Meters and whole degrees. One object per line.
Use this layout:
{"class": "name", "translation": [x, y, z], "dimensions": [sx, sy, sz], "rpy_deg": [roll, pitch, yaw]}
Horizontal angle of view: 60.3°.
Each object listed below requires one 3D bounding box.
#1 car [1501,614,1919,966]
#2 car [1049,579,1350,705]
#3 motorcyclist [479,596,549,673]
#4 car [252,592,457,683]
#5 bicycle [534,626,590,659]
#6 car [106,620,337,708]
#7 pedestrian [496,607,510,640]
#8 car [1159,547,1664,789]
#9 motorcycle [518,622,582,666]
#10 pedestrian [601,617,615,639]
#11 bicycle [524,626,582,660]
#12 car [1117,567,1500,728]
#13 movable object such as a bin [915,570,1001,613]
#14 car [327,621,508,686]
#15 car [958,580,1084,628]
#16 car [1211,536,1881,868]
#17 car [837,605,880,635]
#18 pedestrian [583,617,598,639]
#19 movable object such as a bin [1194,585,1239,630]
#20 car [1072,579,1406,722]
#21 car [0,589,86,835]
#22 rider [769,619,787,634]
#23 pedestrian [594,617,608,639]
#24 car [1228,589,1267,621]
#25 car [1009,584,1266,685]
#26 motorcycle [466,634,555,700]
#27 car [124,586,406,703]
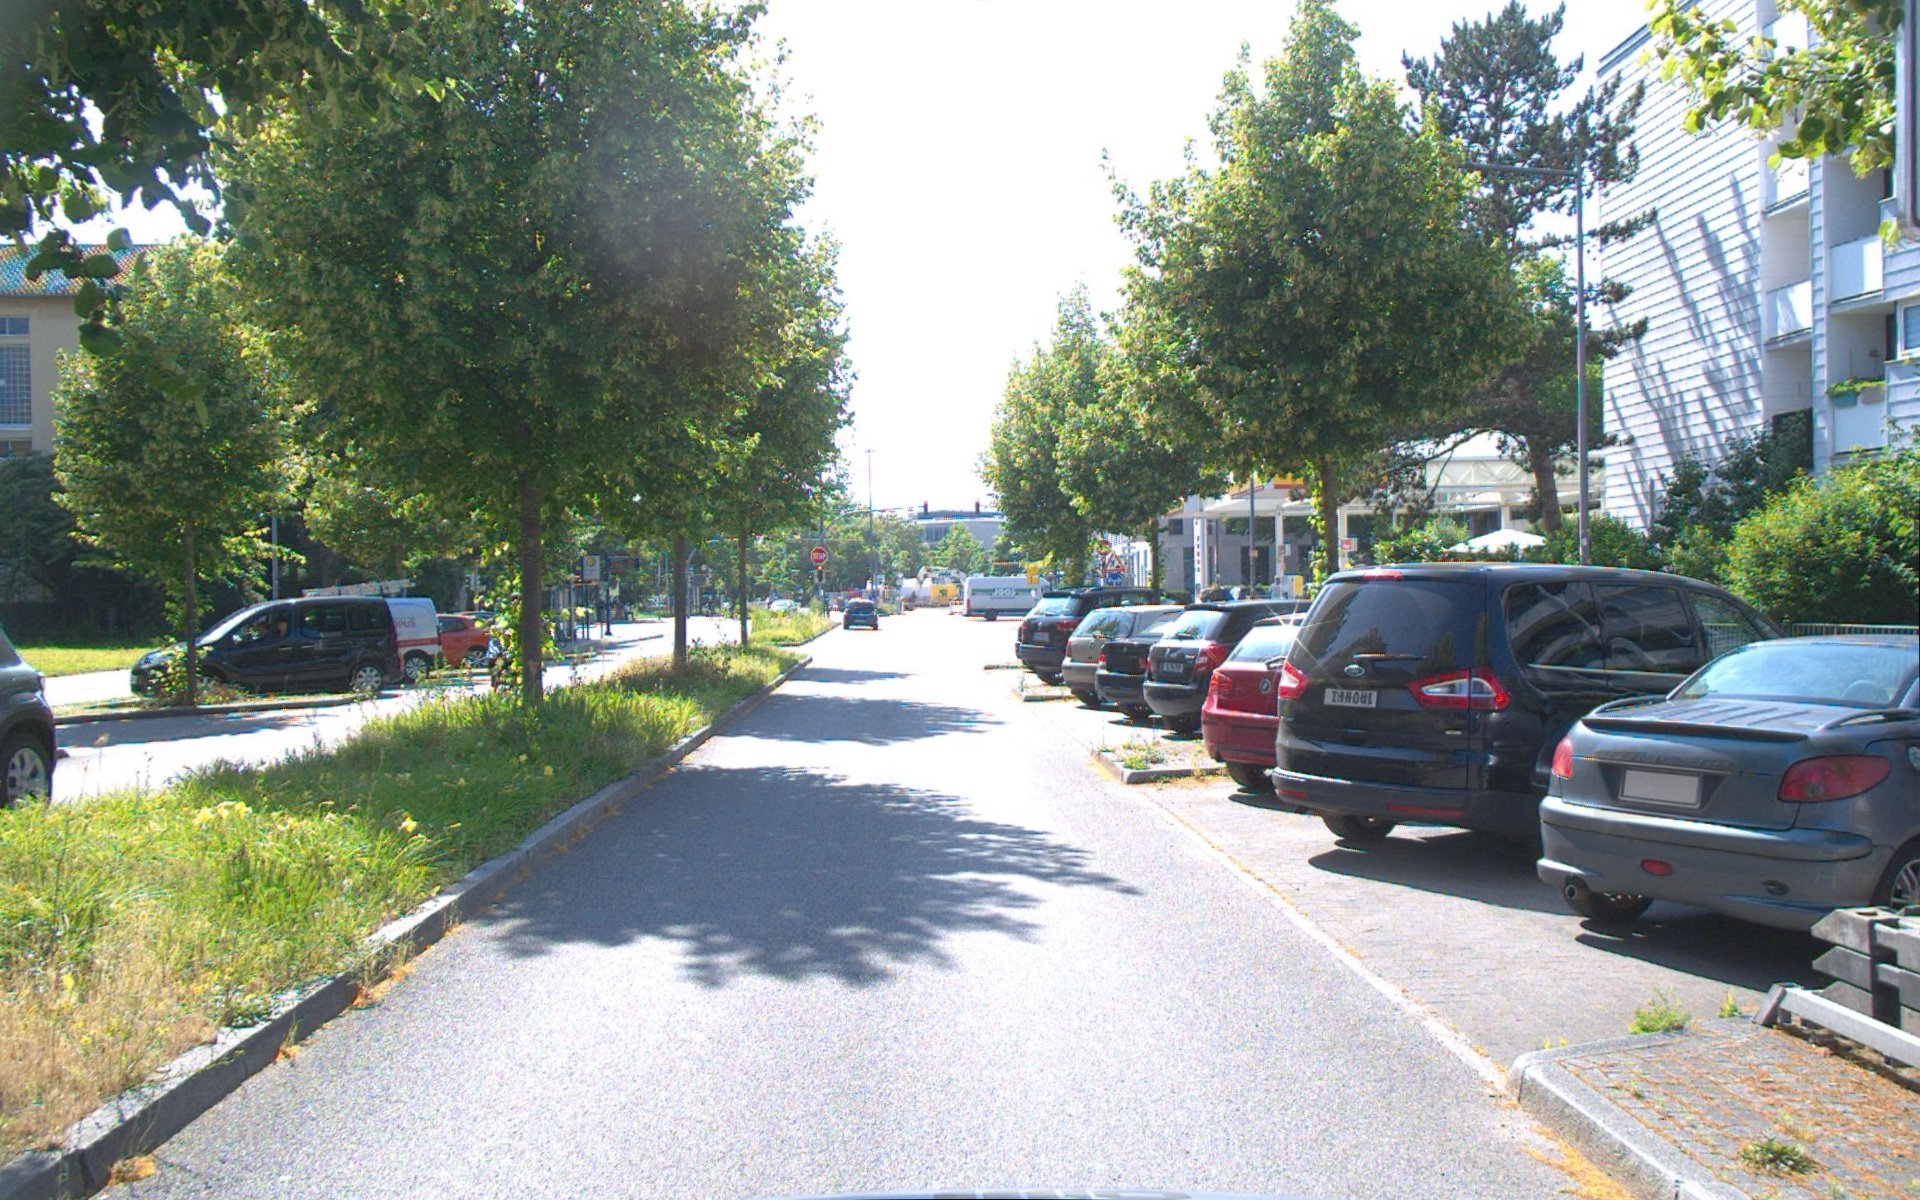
{"class": "car", "translation": [4.608, 0.700, 7.725], "dimensions": [3.942, 1.258, 1.736], "rpy_deg": [0, -1, -28]}
{"class": "car", "translation": [3.405, 0.577, 23.748], "dimensions": [3.920, 1.669, 1.746], "rpy_deg": [-1, -1, -15]}
{"class": "motorcyclist", "translation": [-7.438, 0.575, 27.608], "dimensions": [0.882, 1.242, 1.061], "rpy_deg": [-1, -1, -1]}
{"class": "car", "translation": [-12.638, 0.754, 34.568], "dimensions": [3.728, 1.803, 1.798], "rpy_deg": [0, -1, -34]}
{"class": "bicycle", "translation": [-14.053, 1.491, 58.388], "dimensions": [1.808, 1.142, 0.693], "rpy_deg": [-1, -1, -1]}
{"class": "car", "translation": [-13.855, 1.155, 31.062], "dimensions": [3.729, 1.452, 1.834], "rpy_deg": [-1, 0, -34]}
{"class": "pedestrian", "translation": [-24.937, 1.297, 90.296], "dimensions": [0.649, 1.757, 0.749], "rpy_deg": [-1, -1, -20]}
{"class": "car", "translation": [3.700, 0.497, 13.337], "dimensions": [3.955, 1.669, 1.856], "rpy_deg": [0, -2, -36]}
{"class": "motorcycle", "translation": [-12.560, 1.337, 50.699], "dimensions": [1.811, 1.307, 0.691], "rpy_deg": [0, -1, -9]}
{"class": "pedestrian", "translation": [-26.050, 2.051, 122.488], "dimensions": [0.641, 1.640, 0.942], "rpy_deg": [-1, -1, 21]}
{"class": "bicycle", "translation": [-14.045, 1.481, 57.063], "dimensions": [1.808, 1.126, 0.693], "rpy_deg": [-1, -1, -1]}
{"class": "car", "translation": [3.947, 0.492, 18.779], "dimensions": [3.930, 1.669, 1.789], "rpy_deg": [-1, -1, -22]}
{"class": "movable object such as a bin", "translation": [-0.181, -0.957, 184.343], "dimensions": [9.478, 4.630, 3.163], "rpy_deg": [0, -1, -1]}
{"class": "car", "translation": [-12.948, 1.241, 39.542], "dimensions": [3.803, 1.448, 1.692], "rpy_deg": [0, -1, -38]}
{"class": "car", "translation": [3.664, 0.238, 100.264], "dimensions": [7.285, 2.721, 2.899], "rpy_deg": [-1, 0, -6]}
{"class": "car", "translation": [3.746, 0.519, 10.366], "dimensions": [4.074, 1.669, 2.018], "rpy_deg": [0, -1, -36]}
{"class": "car", "translation": [-5.021, 0.982, 81.460], "dimensions": [1.955, 1.422, 3.995], "rpy_deg": [-1, -1, -5]}
{"class": "pedestrian", "translation": [-27.529, 2.081, 123.189], "dimensions": [0.641, 1.640, 0.942], "rpy_deg": [-1, -1, 21]}
{"class": "movable object such as a bin", "translation": [9.614, 0.288, 62.102], "dimensions": [1.282, 1.620, 1.394], "rpy_deg": [-3, -1, -5]}
{"class": "car", "translation": [3.564, 0.583, 21.106], "dimensions": [3.935, 1.668, 1.740], "rpy_deg": [-1, 0, -25]}
{"class": "car", "translation": [-7.001, 0.733, 9.616], "dimensions": [1.706, 1.574, 4.071], "rpy_deg": [-2, -1, -1]}
{"class": "rider", "translation": [-14.989, 2.144, 136.142], "dimensions": [1.364, 1.217, 2.695], "rpy_deg": [0, -1, -5]}
{"class": "pedestrian", "translation": [-26.747, 2.072, 123.187], "dimensions": [0.641, 1.640, 0.942], "rpy_deg": [-1, -1, 21]}
{"class": "car", "translation": [13.166, 0.236, 75.885], "dimensions": [1.615, 1.422, 3.644], "rpy_deg": [-1, -1, 8]}
{"class": "car", "translation": [3.255, 0.574, 29.806], "dimensions": [4.694, 1.689, 1.730], "rpy_deg": [0, -1, -37]}
{"class": "motorcycle", "translation": [-7.427, 1.090, 27.437], "dimensions": [0.904, 1.010, 2.234], "rpy_deg": [-1, -1, -1]}
{"class": "car", "translation": [-12.093, 0.722, 28.901], "dimensions": [4.150, 1.848, 1.975], "rpy_deg": [-1, 0, -40]}
